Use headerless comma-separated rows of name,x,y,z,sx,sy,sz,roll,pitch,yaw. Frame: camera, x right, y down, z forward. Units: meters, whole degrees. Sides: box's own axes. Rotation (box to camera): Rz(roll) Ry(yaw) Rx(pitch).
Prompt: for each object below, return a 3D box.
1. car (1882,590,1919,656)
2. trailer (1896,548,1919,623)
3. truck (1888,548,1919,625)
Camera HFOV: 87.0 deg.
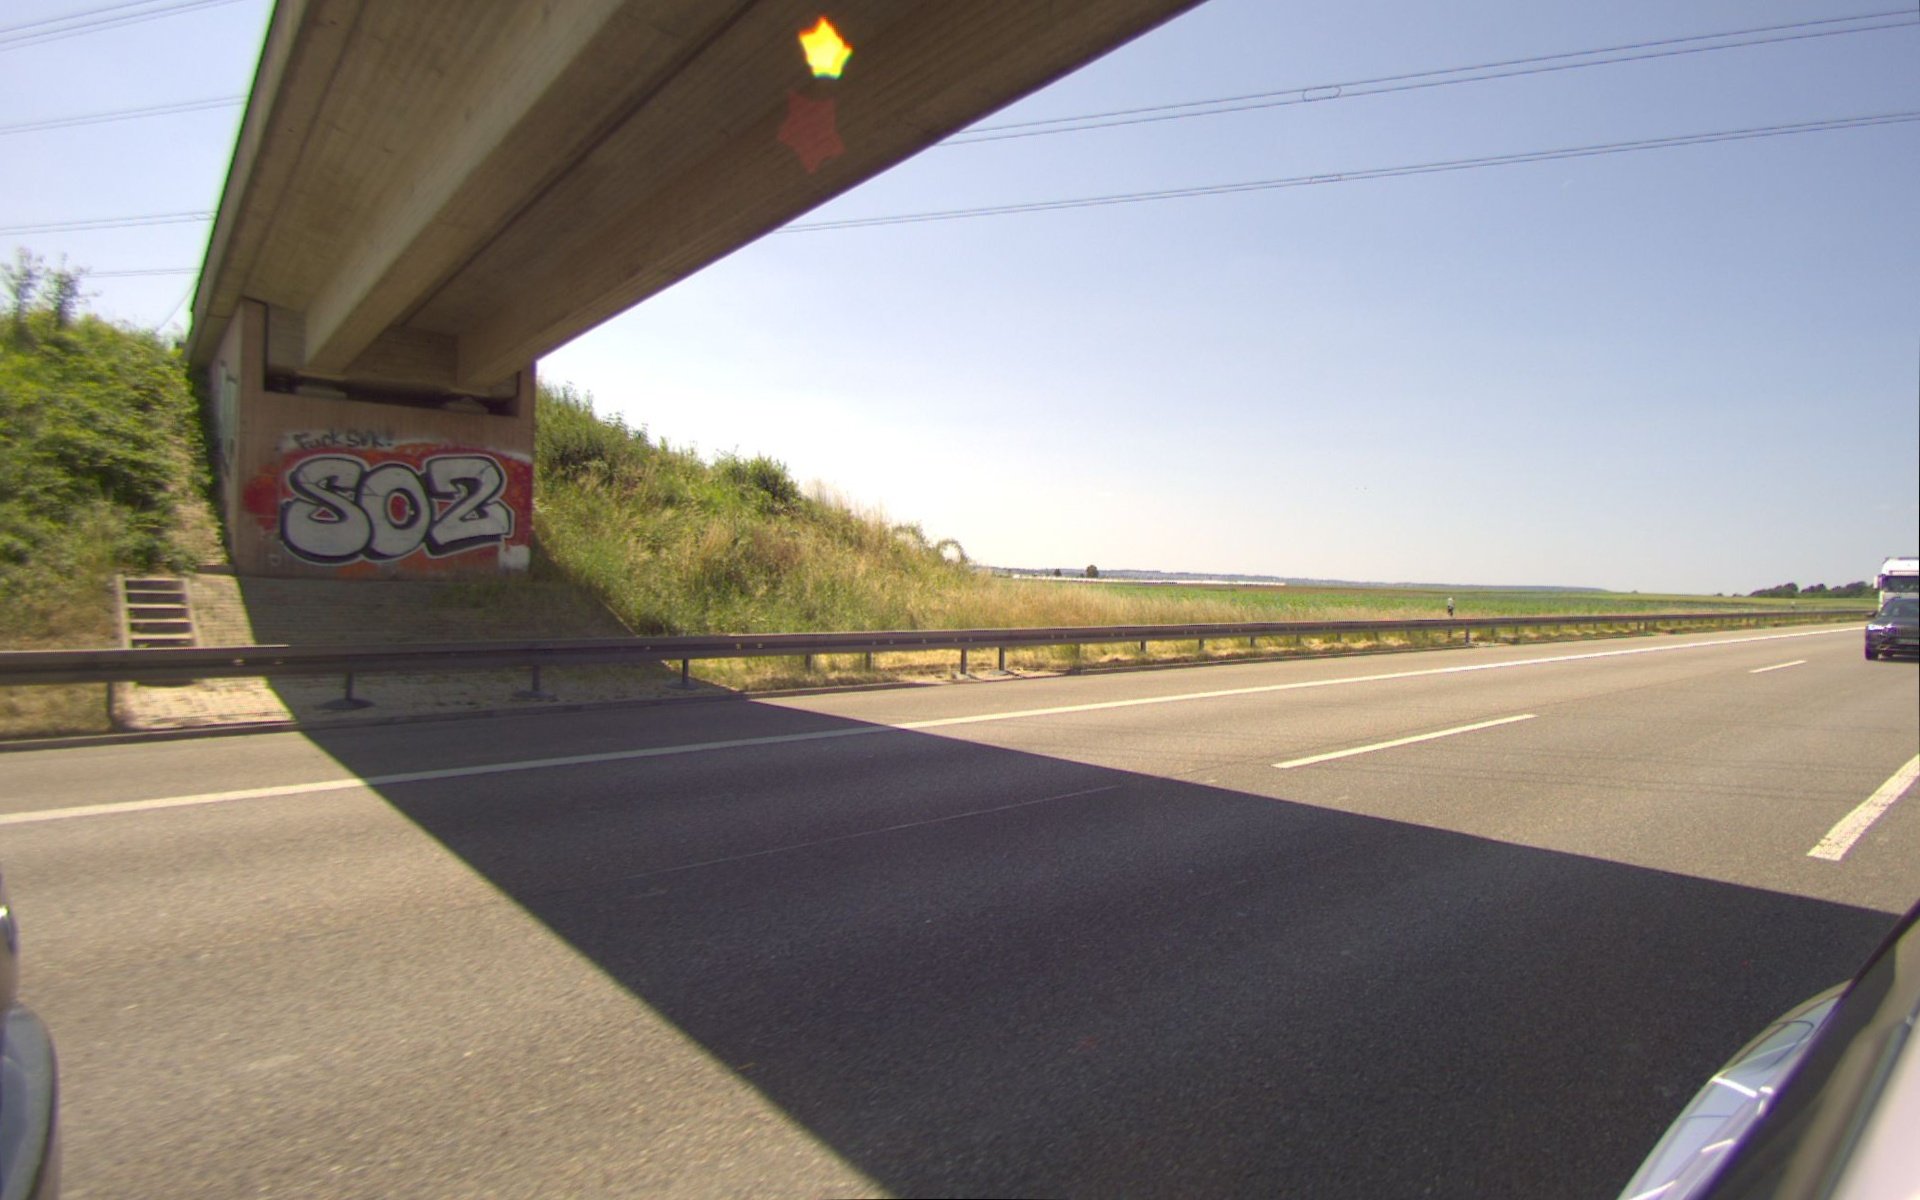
car,24.739,0.561,25.688,3.761,1.582,1.798,0,0,-44
trailer,60.161,-0.826,61.998,13.063,4.273,2.872,0,0,-42
truck,54.782,-0.730,57.192,6.761,4.143,2.866,0,0,-42
